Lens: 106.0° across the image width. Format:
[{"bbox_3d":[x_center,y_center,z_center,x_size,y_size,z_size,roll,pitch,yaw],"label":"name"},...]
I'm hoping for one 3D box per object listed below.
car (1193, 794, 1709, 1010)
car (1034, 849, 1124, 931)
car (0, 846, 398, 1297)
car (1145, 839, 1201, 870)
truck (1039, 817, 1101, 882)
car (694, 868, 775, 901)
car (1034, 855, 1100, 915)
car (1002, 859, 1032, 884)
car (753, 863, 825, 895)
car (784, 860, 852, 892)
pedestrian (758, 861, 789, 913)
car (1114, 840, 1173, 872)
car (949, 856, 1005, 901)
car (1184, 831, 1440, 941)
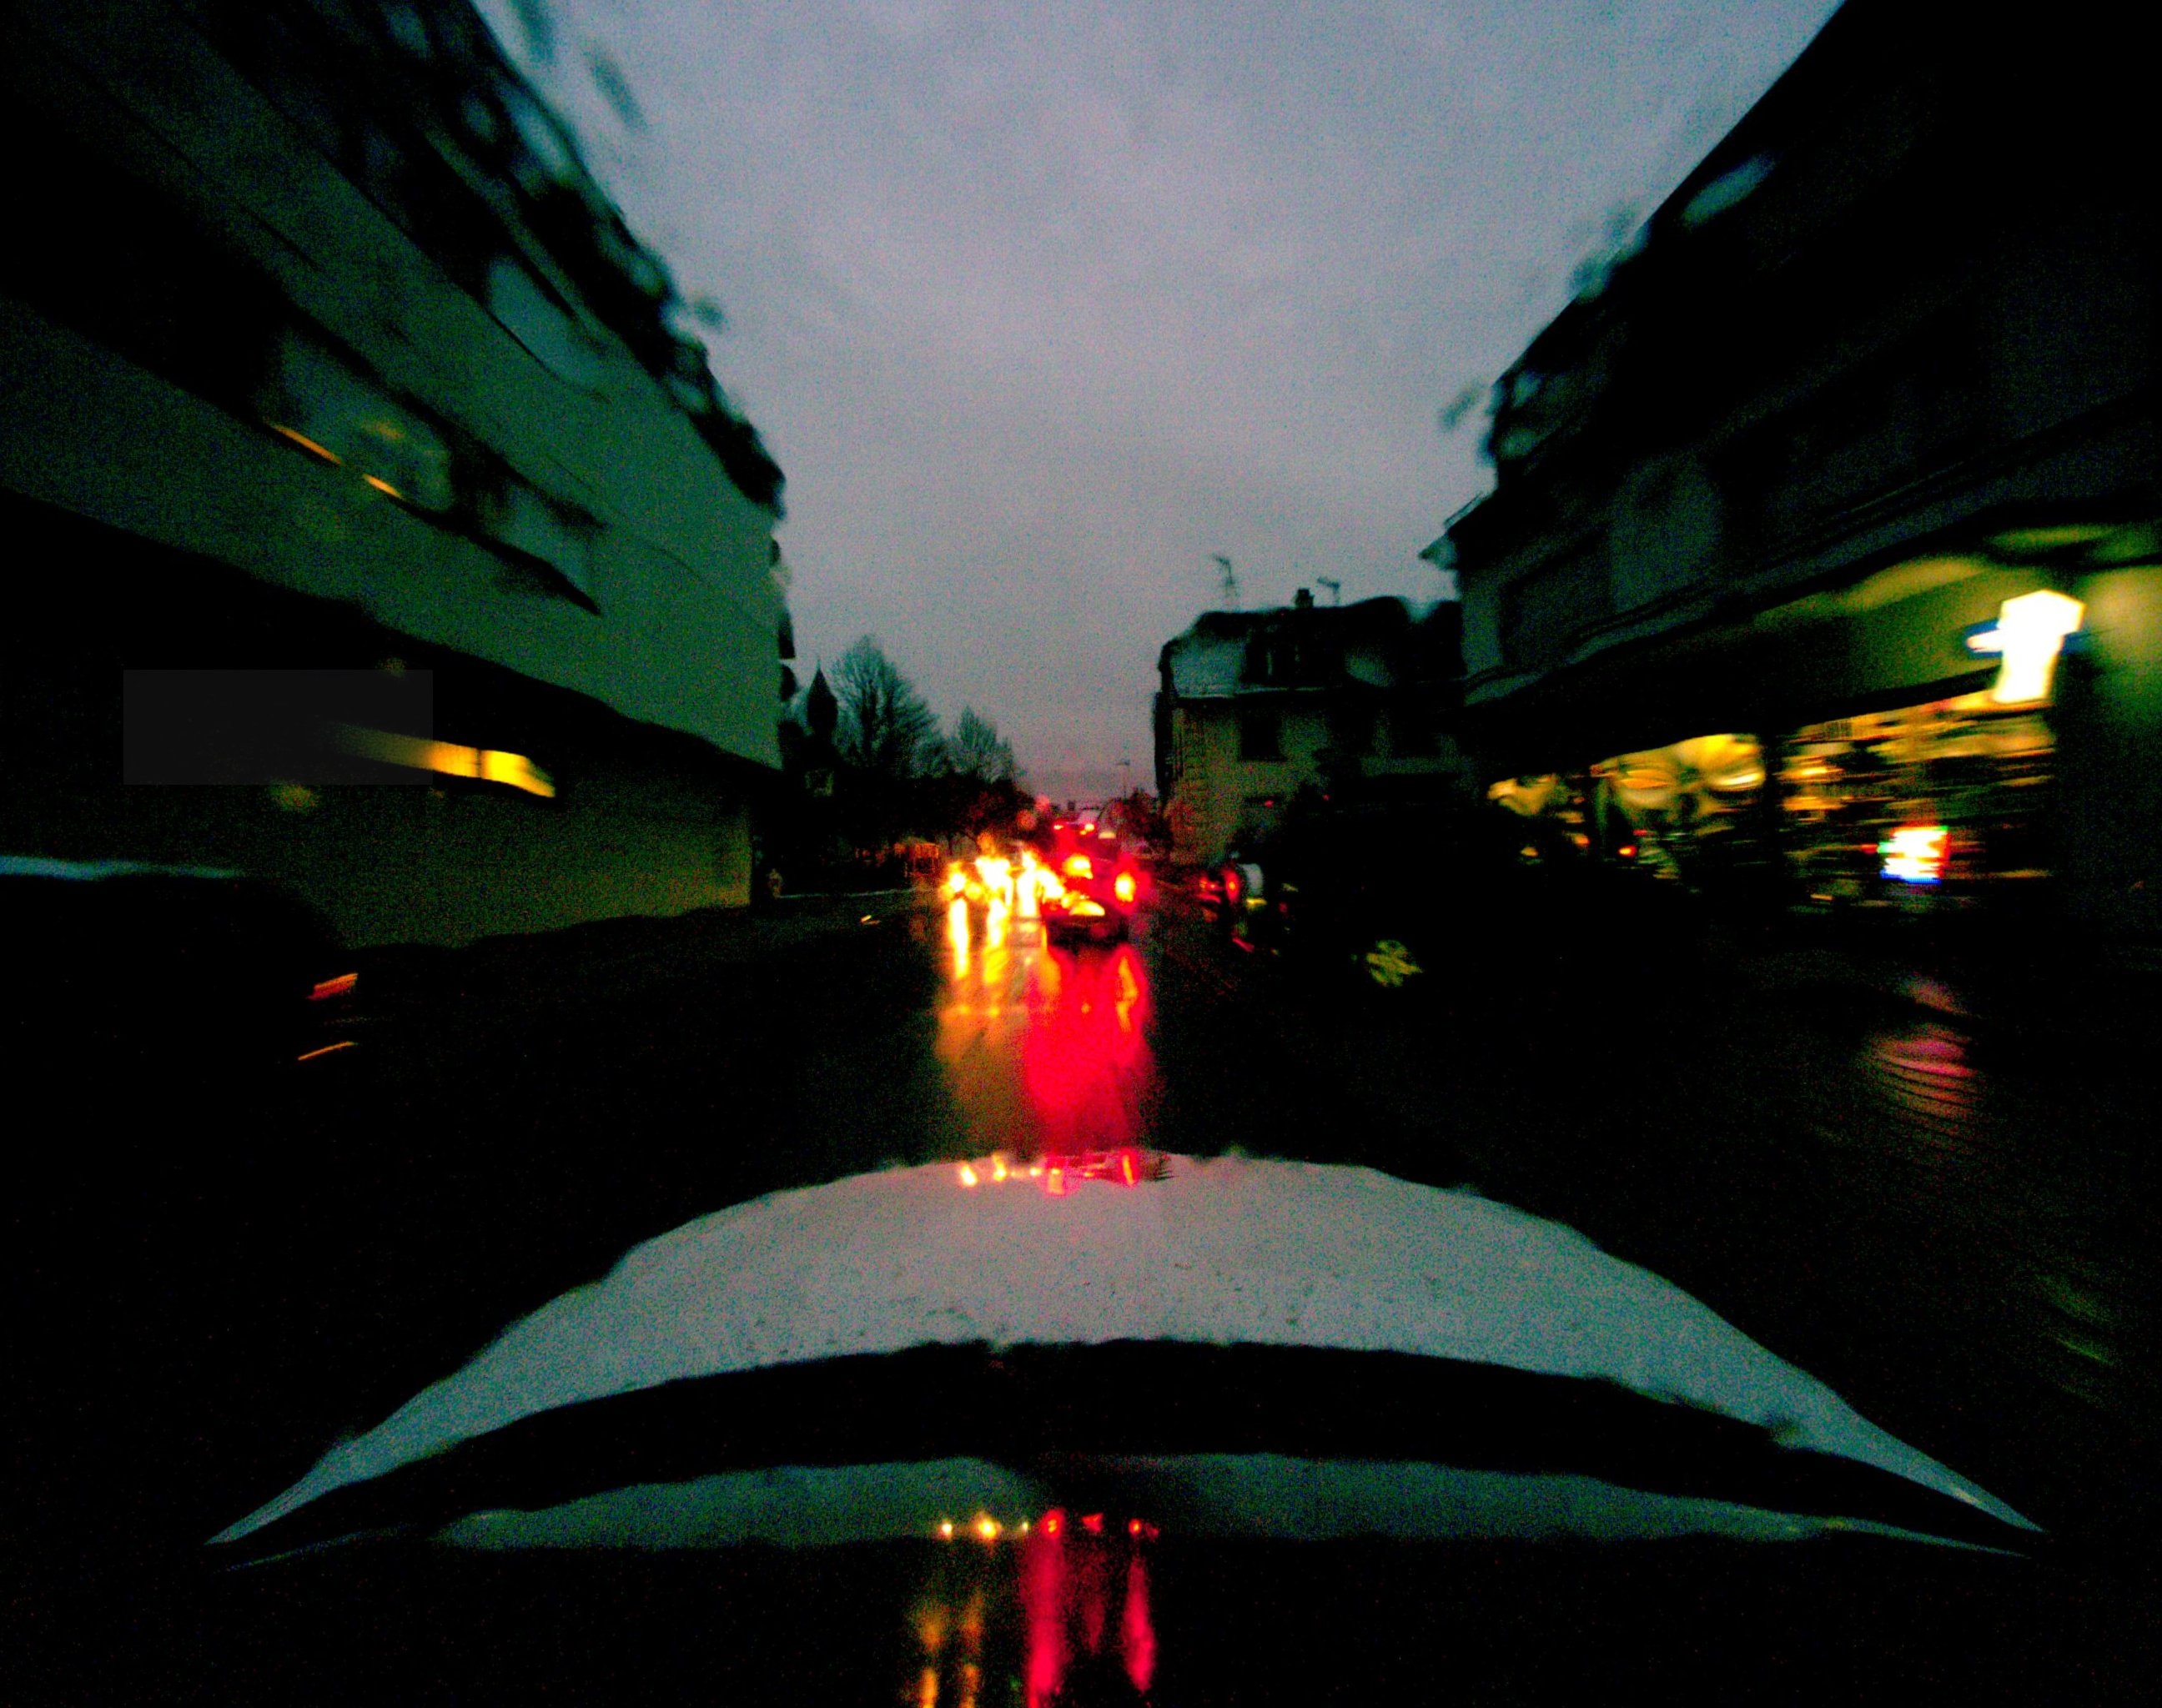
[{"bbox_3d":[3.700,0.418,8.655,4.597,1.775,1.942,-3,0,-6],"label":"car"},{"bbox_3d":[-0.047,0.672,16.734,1.633,1.481,3.378,-1,0,-1],"label":"car"},{"bbox_3d":[-4.837,0.807,2.774,1.789,1.642,3.811,-1,0,-1],"label":"car"},{"bbox_3d":[6.873,0.032,60.844,4.076,2.151,1.917,-2,0,6],"label":"car"},{"bbox_3d":[-0.729,-0.224,44.413,3.009,3.128,7.991,-1,0,-3],"label":"truck"},{"bbox_3d":[-19.772,1.745,46.453,3.954,1.730,1.828,-2,0,18],"label":"car"},{"bbox_3d":[-0.367,0.787,22.409,1.633,1.481,3.270,-1,0,-1],"label":"car"},{"bbox_3d":[-4.577,1.251,58.854,1.805,1.596,4.397,-2,0,-1],"label":"car"},{"bbox_3d":[-18.513,1.581,51.740,3.954,1.910,1.828,-2,0,18],"label":"car"},{"bbox_3d":[-17.605,1.492,54.631,3.954,1.998,1.828,-2,0,18],"label":"car"},{"bbox_3d":[-8.770,0.929,23.204,0.653,1.458,0.643,-1,0,-37],"label":"pedestrian"},{"bbox_3d":[4.492,0.144,58.496,4.076,2.163,1.917,-2,0,6],"label":"car"},{"bbox_3d":[-3.838,0.868,30.419,1.633,1.535,3.405,-2,0,-1],"label":"car"},{"bbox_3d":[3.896,0.512,14.073,3.865,1.579,1.678,-3,0,-7],"label":"car"}]
